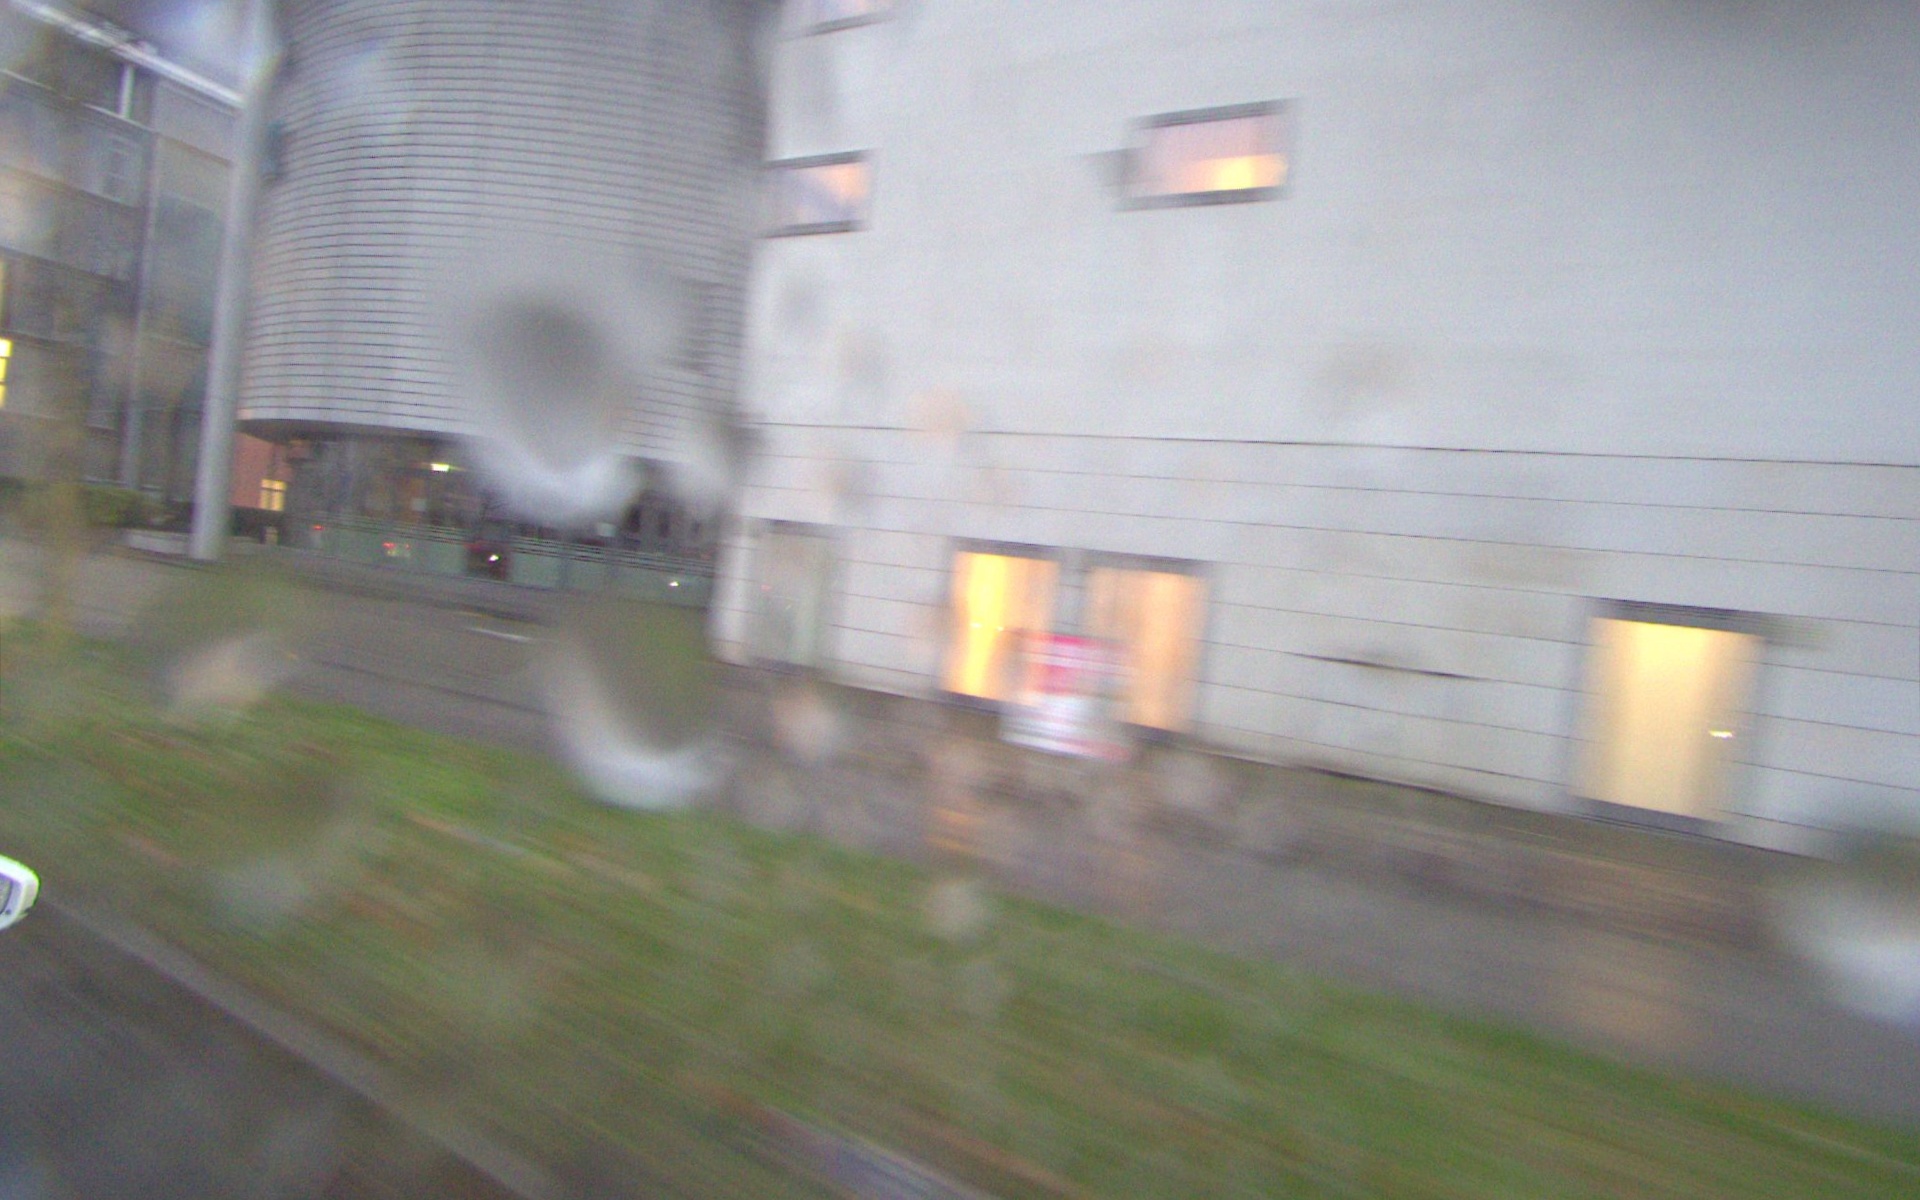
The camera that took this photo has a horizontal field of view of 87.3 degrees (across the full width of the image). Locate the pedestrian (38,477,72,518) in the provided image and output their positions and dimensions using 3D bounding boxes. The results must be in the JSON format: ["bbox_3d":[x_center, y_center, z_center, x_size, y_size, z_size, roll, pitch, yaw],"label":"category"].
[{"bbox_3d":[-40.980,-4.638,45.575,0.714,1.673,0.809,7,-1,30],"label":"pedestrian"}]
